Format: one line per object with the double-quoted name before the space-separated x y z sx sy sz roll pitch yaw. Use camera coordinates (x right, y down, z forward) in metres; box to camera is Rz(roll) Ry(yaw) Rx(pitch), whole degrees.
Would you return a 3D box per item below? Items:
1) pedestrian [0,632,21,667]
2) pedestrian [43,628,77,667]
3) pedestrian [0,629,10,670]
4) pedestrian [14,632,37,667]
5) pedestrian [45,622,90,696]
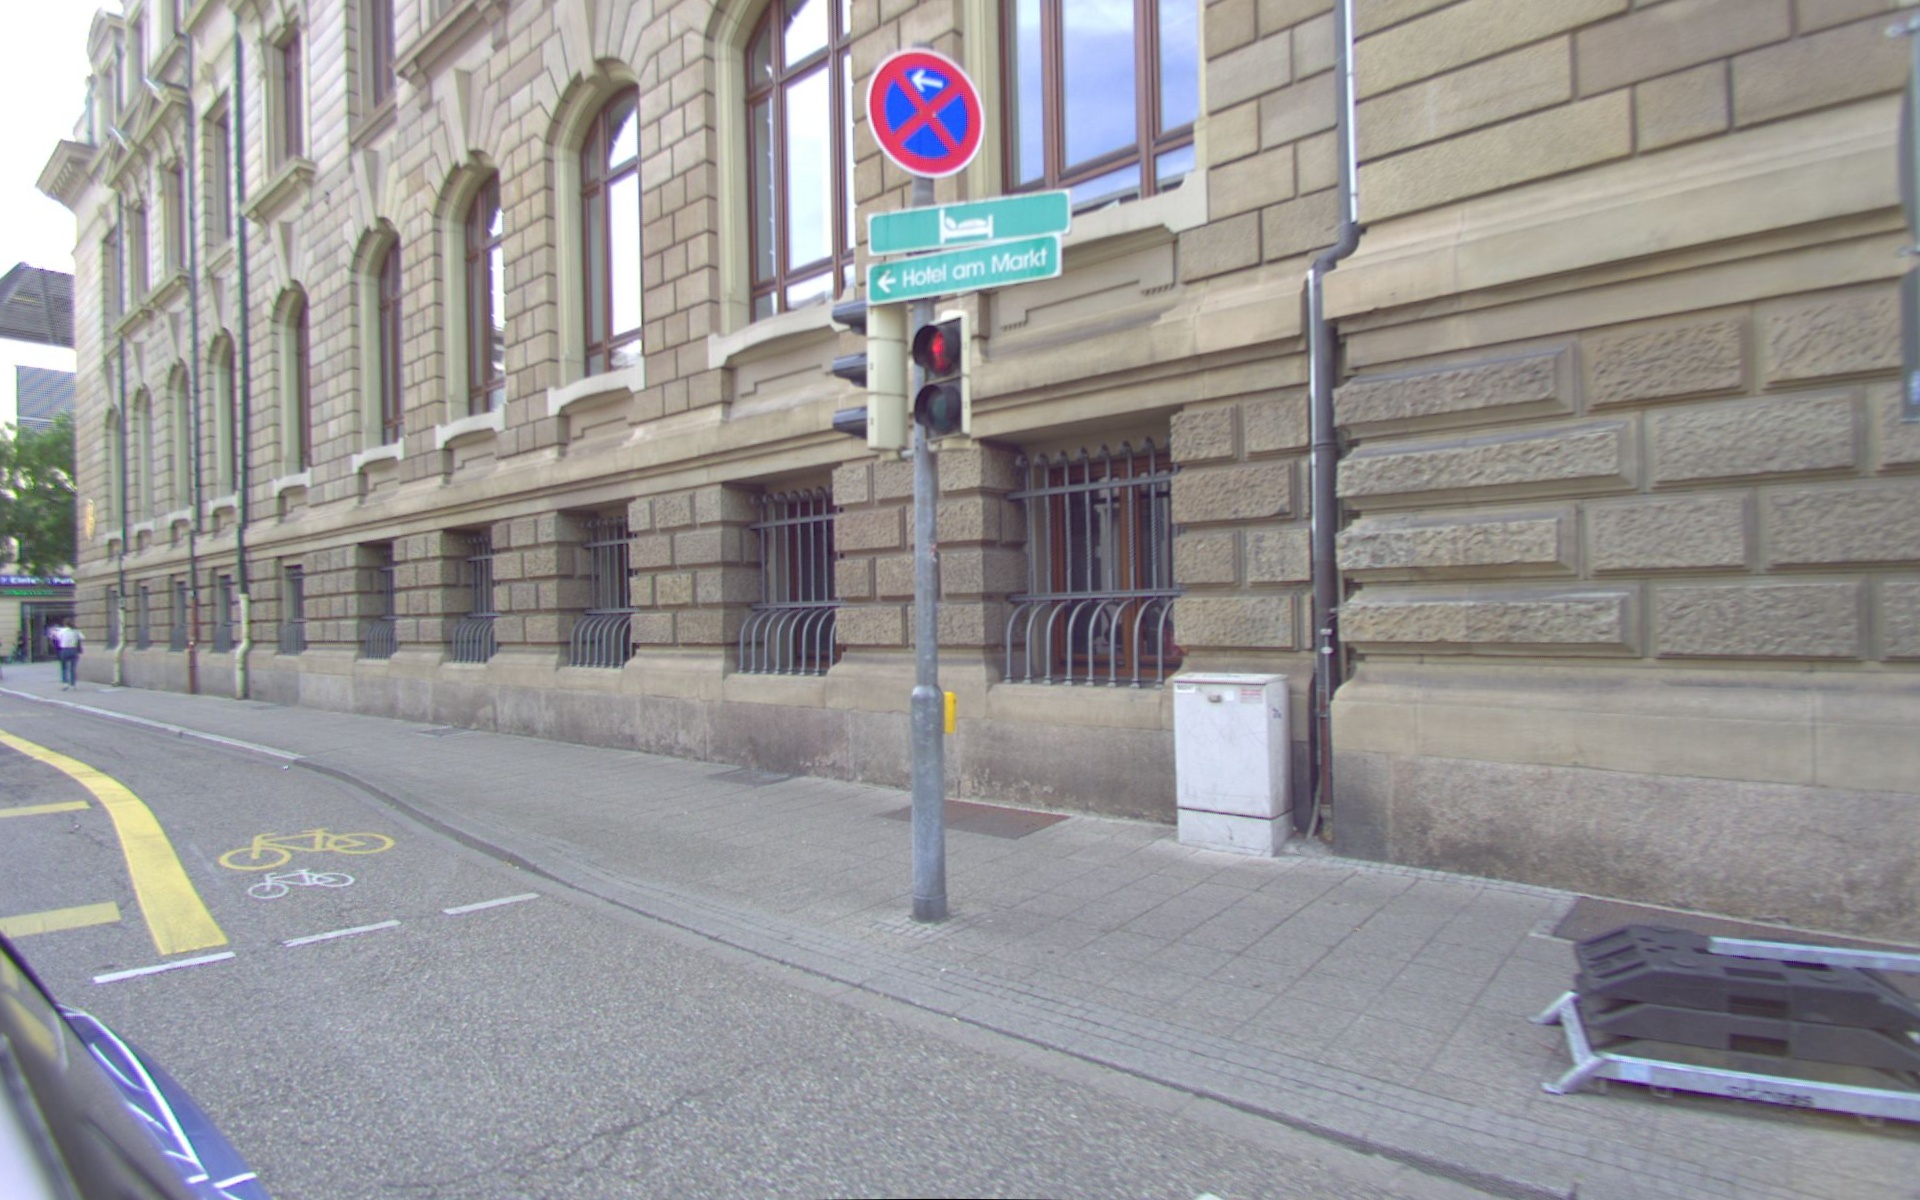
"pedestrian" -50.856 2.653 54.131 0.857 1.845 0.642 -1 -1 27
"pedestrian" -42.088 2.227 47.307 0.818 1.732 1.016 -2 1 40
"pedestrian" -43.774 2.255 45.868 0.855 1.845 0.769 -1 -1 20
"pedestrian" -50.573 2.654 54.784 0.857 1.845 0.642 -1 -1 27
"pedestrian" -23.047 1.495 26.127 1.047 1.833 0.657 -2 1 40
